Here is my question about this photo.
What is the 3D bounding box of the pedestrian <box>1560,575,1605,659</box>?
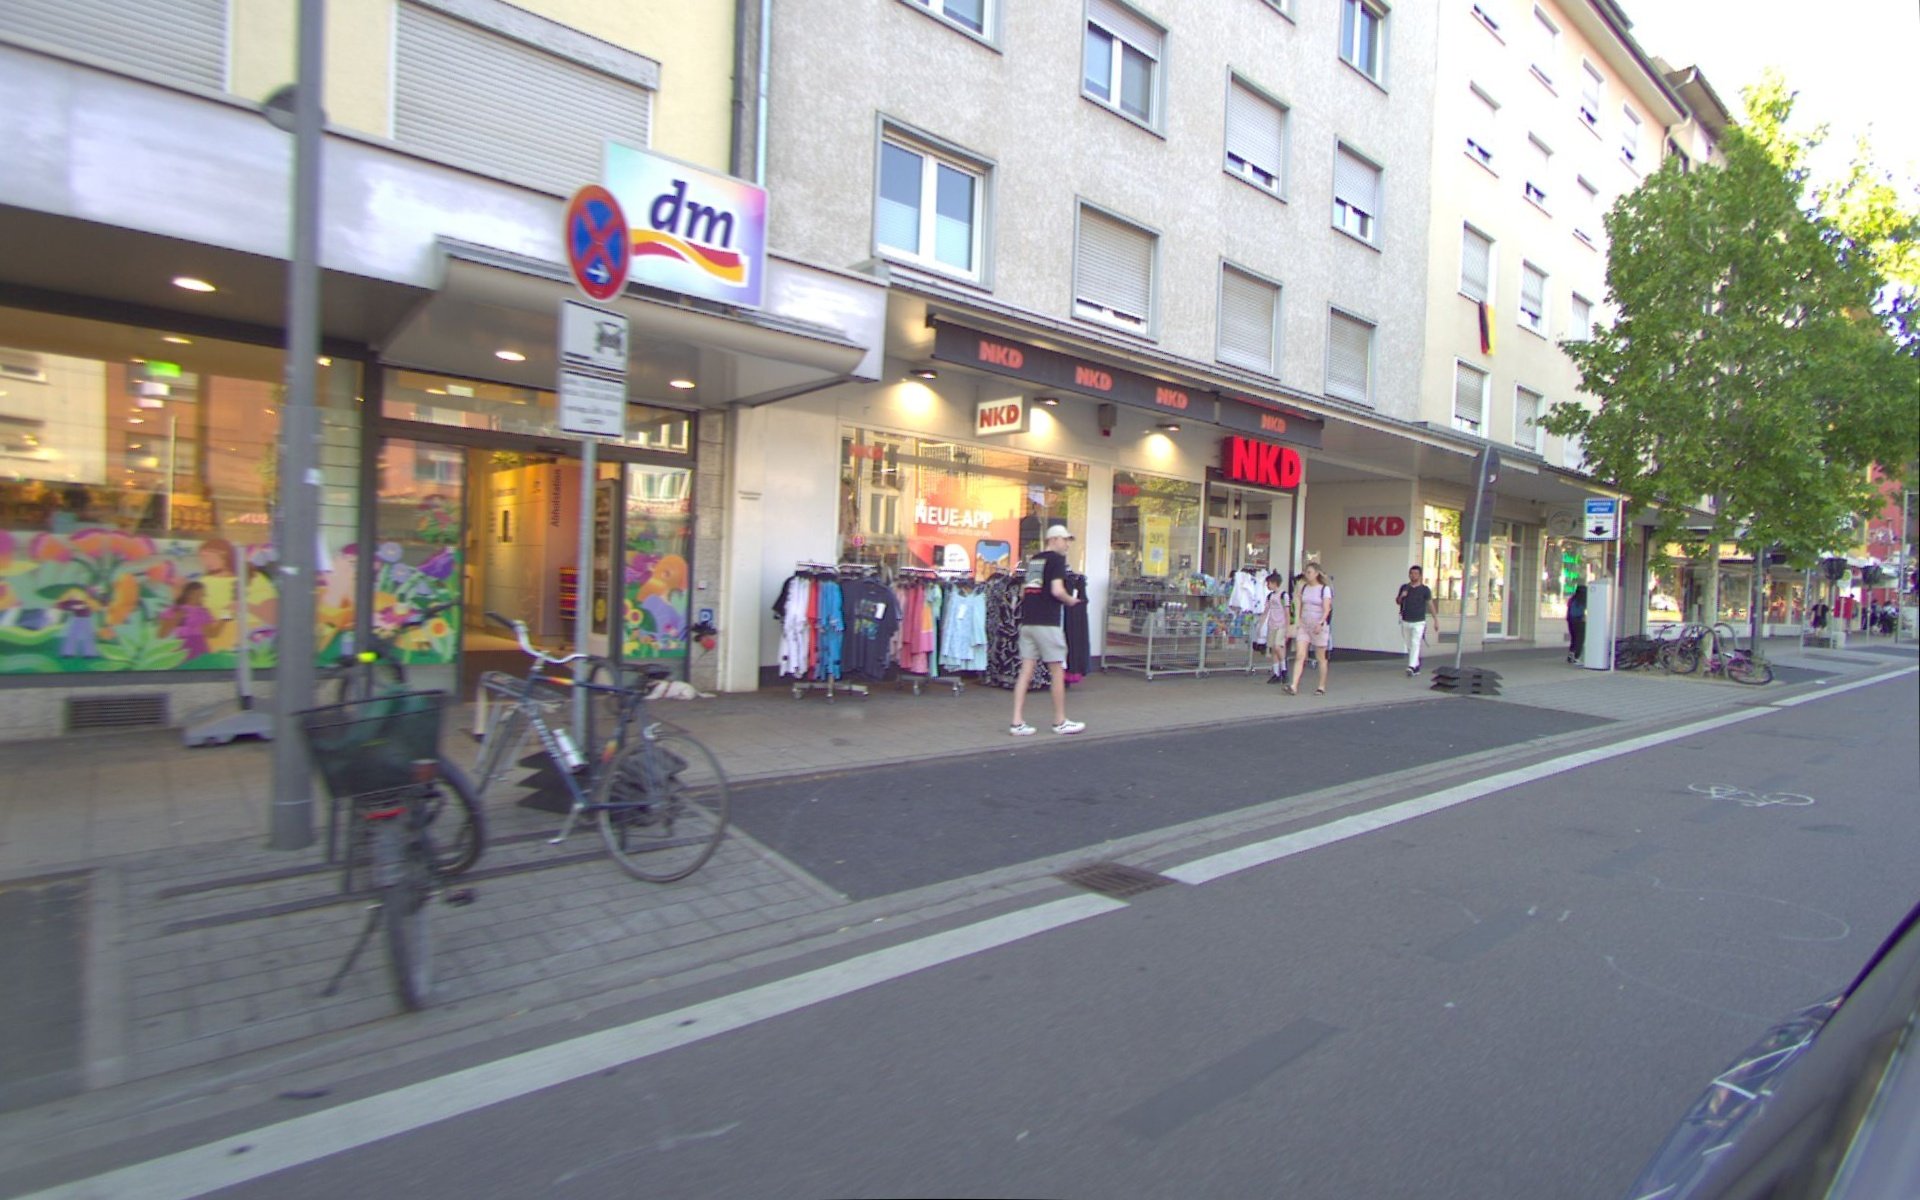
[{"bbox_3d":[12.274,0.325,19.958,0.637,1.586,0.490,1,3,-40],"label":"pedestrian"}]

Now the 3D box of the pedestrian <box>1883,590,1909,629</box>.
[{"bbox_3d":[42.163,0.429,45.599,0.647,1.695,0.693,1,3,-41],"label":"pedestrian"}]

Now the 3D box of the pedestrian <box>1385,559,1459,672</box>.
[{"bbox_3d":[7.241,0.228,15.852,1.051,1.695,0.569,1,3,-41],"label":"pedestrian"}]

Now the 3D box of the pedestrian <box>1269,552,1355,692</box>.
[{"bbox_3d":[4.350,0.261,12.510,0.880,1.649,0.547,1,2,-41],"label":"pedestrian"}]

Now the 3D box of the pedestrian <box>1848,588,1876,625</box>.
[{"bbox_3d":[41.649,0.301,46.746,0.900,1.675,0.851,0,0,-41],"label":"pedestrian"}]

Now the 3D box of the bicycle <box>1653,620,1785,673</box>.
[{"bbox_3d":[13.462,0.808,18.004,1.744,0.788,0.696,3,2,27],"label":"bicycle"}]

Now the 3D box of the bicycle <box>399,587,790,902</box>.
[{"bbox_3d":[-1.792,0.609,4.924,1.773,1.137,0.659,7,5,22],"label":"bicycle"}]

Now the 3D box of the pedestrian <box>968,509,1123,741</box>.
[{"bbox_3d":[0.720,0.182,8.588,0.914,1.821,0.775,1,4,-40],"label":"pedestrian"}]

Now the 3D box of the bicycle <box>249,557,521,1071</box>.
[{"bbox_3d":[-2.144,0.597,3.822,0.679,1.326,1.797,2,6,-29],"label":"bicycle"}]

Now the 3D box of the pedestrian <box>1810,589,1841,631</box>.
[{"bbox_3d":[35.670,0.403,41.702,0.900,1.675,0.851,0,0,-41],"label":"pedestrian"}]

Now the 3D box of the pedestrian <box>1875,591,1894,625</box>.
[{"bbox_3d":[46.314,0.398,50.676,0.640,1.675,0.634,0,0,-41],"label":"pedestrian"}]

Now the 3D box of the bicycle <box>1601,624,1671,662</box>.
[{"bbox_3d":[12.656,0.792,18.987,0.831,0.579,1.745,3,2,26],"label":"bicycle"}]

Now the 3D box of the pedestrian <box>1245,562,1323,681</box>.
[{"bbox_3d":[4.372,0.282,13.645,0.880,1.520,0.542,1,2,-41],"label":"pedestrian"}]
